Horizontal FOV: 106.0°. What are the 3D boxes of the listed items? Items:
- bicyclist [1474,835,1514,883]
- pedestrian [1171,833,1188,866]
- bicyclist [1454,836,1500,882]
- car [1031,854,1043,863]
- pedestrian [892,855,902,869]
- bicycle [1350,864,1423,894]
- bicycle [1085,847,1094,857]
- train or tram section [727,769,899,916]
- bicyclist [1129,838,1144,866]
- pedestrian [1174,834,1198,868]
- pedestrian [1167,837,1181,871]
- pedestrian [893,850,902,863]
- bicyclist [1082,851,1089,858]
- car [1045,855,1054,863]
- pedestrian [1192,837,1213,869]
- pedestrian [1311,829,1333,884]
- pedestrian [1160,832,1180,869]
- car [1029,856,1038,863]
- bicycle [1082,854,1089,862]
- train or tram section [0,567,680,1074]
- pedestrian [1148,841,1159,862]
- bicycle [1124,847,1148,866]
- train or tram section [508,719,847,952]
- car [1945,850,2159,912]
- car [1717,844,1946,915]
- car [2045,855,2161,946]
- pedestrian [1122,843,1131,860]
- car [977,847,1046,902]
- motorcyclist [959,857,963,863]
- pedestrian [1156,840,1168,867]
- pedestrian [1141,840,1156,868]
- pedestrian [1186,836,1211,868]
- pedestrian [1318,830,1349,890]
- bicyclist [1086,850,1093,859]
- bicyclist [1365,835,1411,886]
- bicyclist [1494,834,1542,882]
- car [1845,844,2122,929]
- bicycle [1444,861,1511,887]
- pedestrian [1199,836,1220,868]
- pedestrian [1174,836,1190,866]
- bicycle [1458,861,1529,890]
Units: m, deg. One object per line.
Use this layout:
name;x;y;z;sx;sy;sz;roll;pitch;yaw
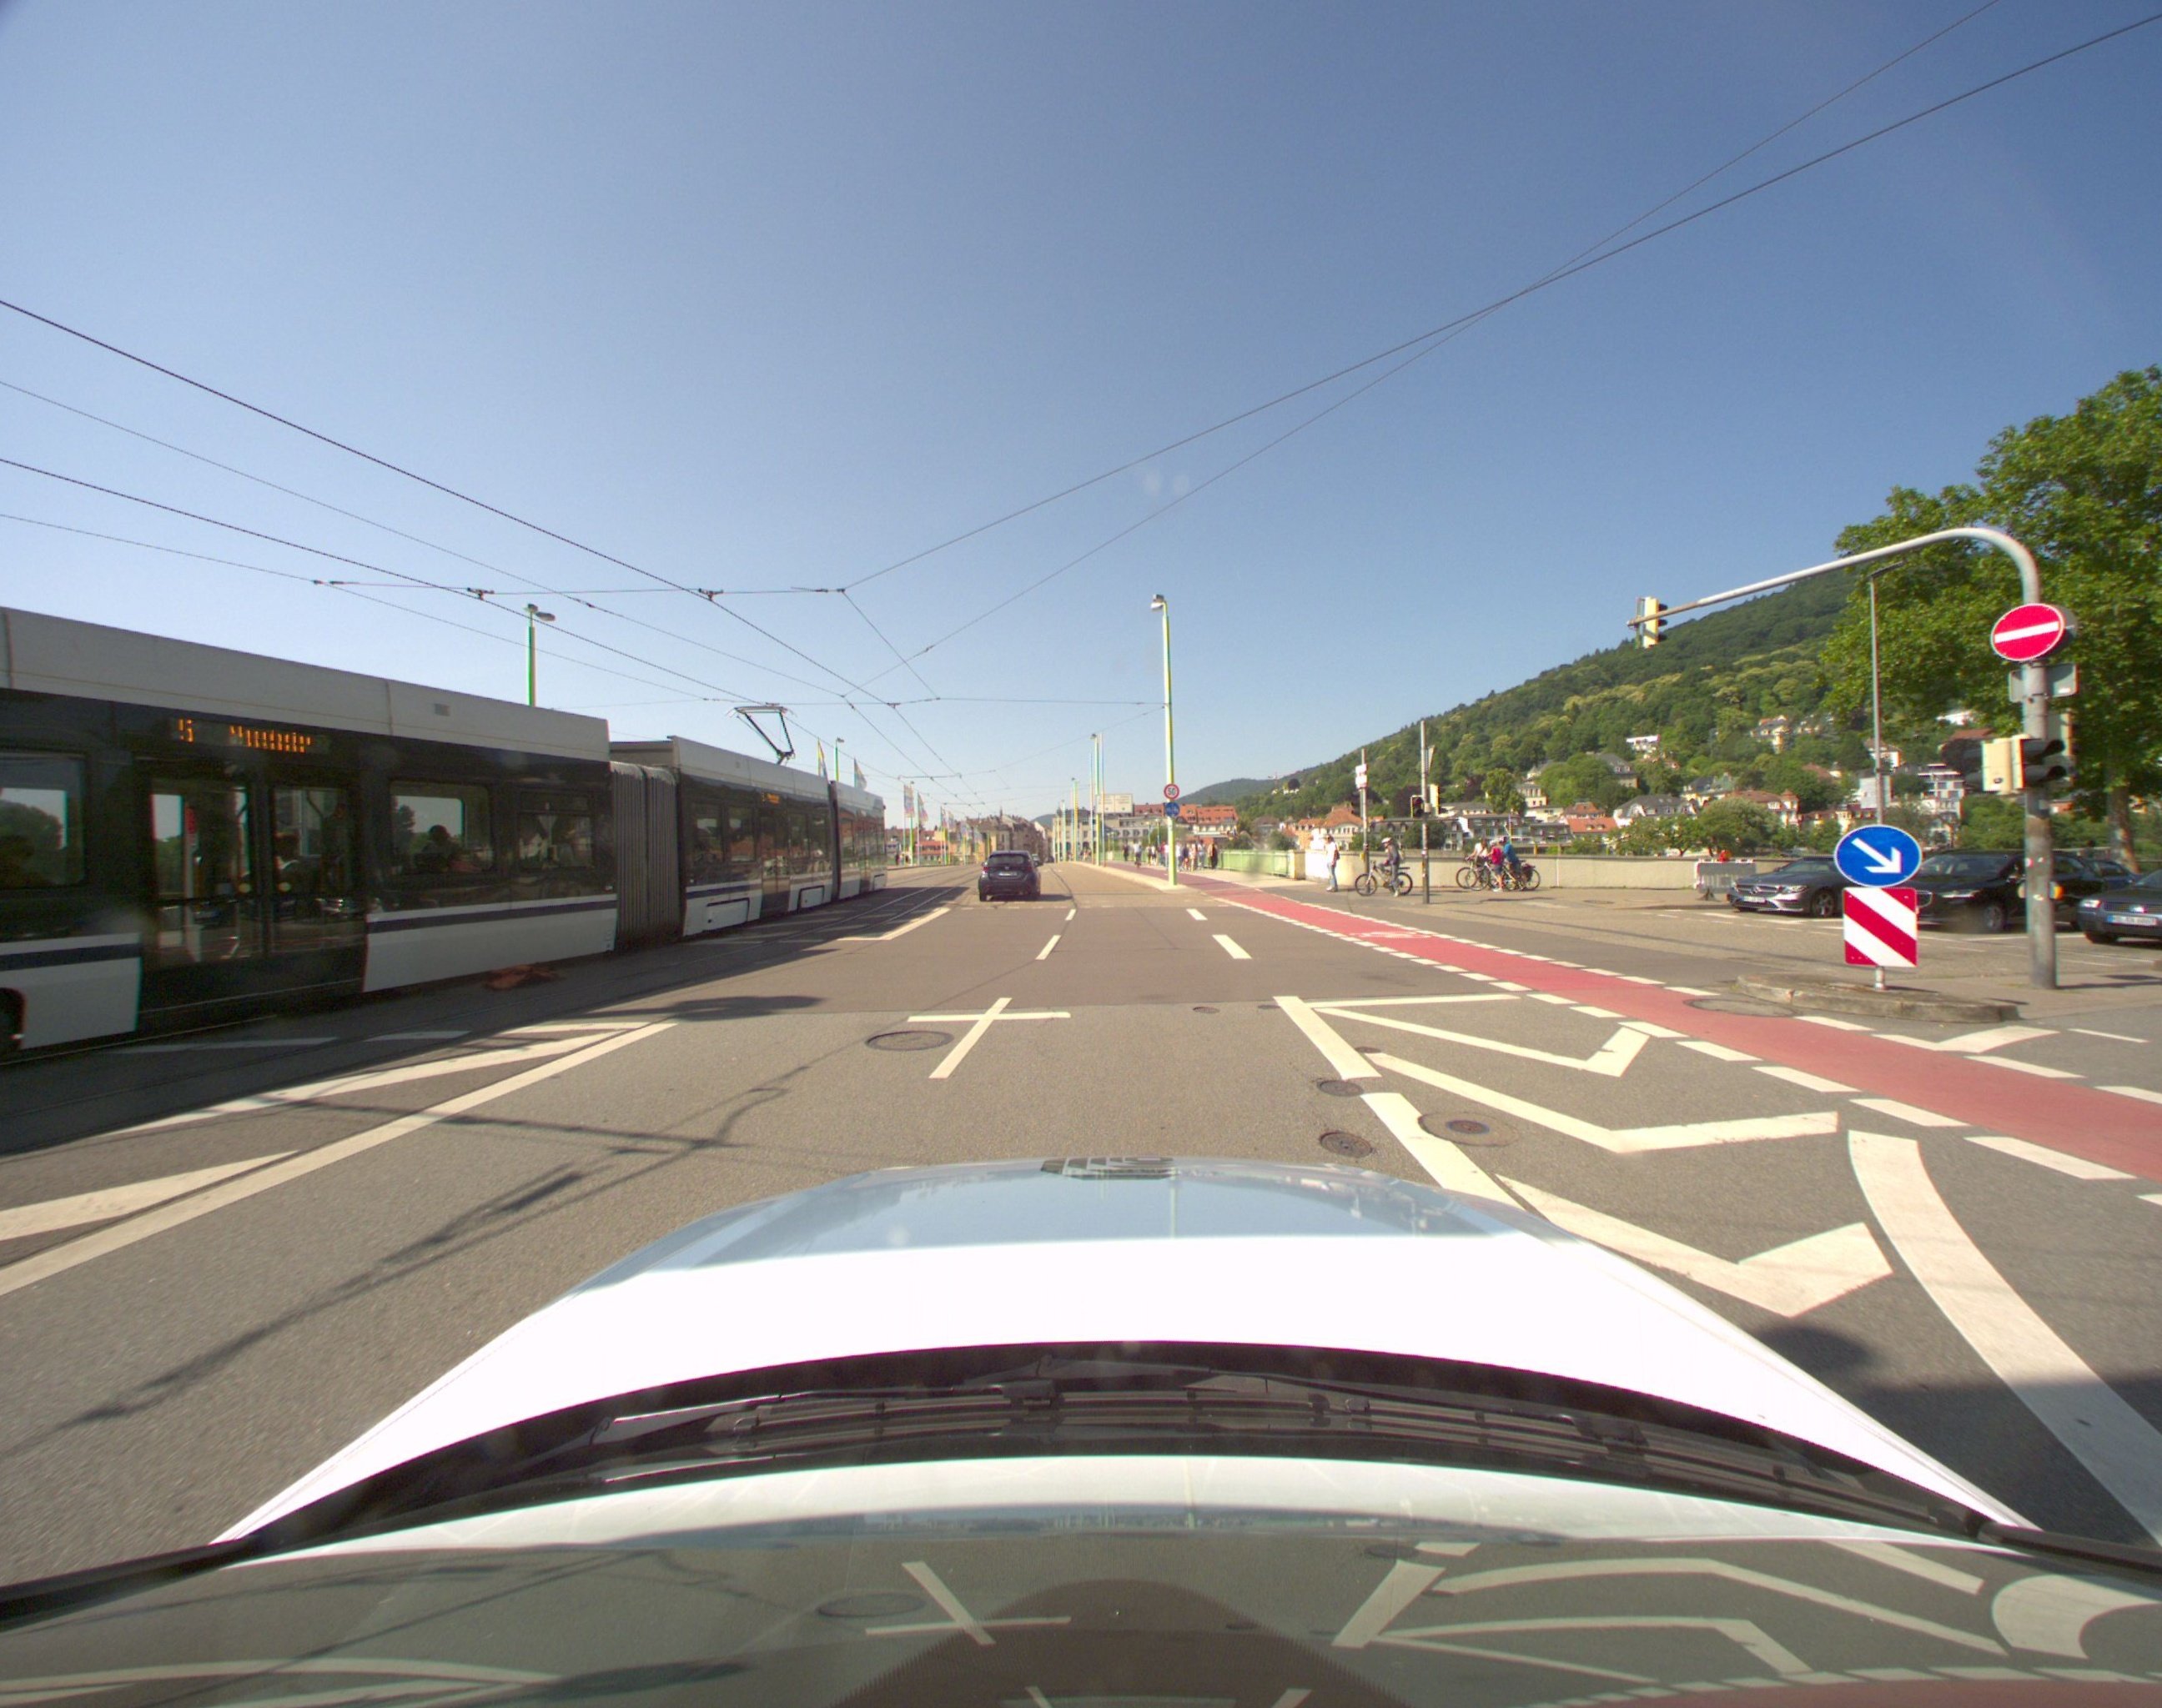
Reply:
bicyclist;12.902;0.138;25.479;1.070;1.474;0.766;0;0;22
pedestrian;5.241;-0.246;43.392;0.695;1.716;0.729;-1;-1;-9
bicyclist;12.895;0.147;26.517;1.075;1.474;0.929;0;0;3
car;-7.812;0.888;144.995;1.802;1.469;3.991;-3;-1;-6
pedestrian;-23.784;1.023;105.255;1.096;1.758;1.292;1;0;-6
bicycle;8.935;0.726;23.834;1.932;0.827;0.565;-1;0;0
bicycle;1.057;-0.282;102.755;0.695;1.193;2.072;-2;-1;-9
train or tram section;-8.351;-0.375;27.309;2.465;3.777;11.834;-2;1;-4
bicyclist;3.521;-0.115;51.695;0.673;1.744;1.147;-2;0;-8
pedestrian;5.620;-0.151;43.624;0.985;1.750;0.927;-1;-1;-10
pedestrian;4.879;0.007;42.751;0.549;1.799;0.644;-1;-1;-9
pedestrian;-26.259;0.363;116.706;1.096;1.729;1.292;-1;0;-7
bicyclist;0.623;0.069;109.344;0.734;1.030;1.173;-1;-1;-5
car;-6.354;1.036;165.109;1.799;1.469;3.998;-3;-1;-1
pedestrian;6.527;-0.043;43.662;0.834;1.677;0.883;-1;-1;-10
pedestrian;7.735;0.075;26.176;0.532;1.760;0.577;-1;0;-1
pedestrian;4.946;-0.204;45.364;0.803;2.014;0.951;-1;-1;-9
car;-12.242;1.520;209.201;1.991;1.717;3.992;-1;0;-6
bicycle;0.612;0.529;109.412;0.617;1.037;2.047;-1;-1;-5
train or tram section;-8.719;-0.277;8.797;2.520;3.777;9.202;-2;1;13
pedestrian;5.458;-0.201;61.167;0.648;1.562;0.691;-2;0;-3
bicycle;3.487;0.164;52.008;0.792;1.096;3.734;-2;0;-8
train or tram section;-7.873;-0.363;17.906;2.395;3.681;9.621;-2;1;1
car;24.800;0.629;20.835;4.479;1.448;1.838;0;1;-15
car;17.674;0.548;19.231;4.478;1.395;1.838;-2;0;-14
car;18.608;0.717;13.378;4.308;1.357;1.873;0;1;-14
pedestrian;4.556;-0.263;81.914;0.654;1.743;0.975;-1;1;-10
car;-2.234;0.582;25.359;1.909;1.540;3.989;-1;0;-8
motorcyclist;-27.848;1.365;188.248;0.799;1.549;1.067;-1;-1;-4
pedestrian;5.449;-0.046;54.844;0.585;1.793;0.630;-1;-1;-9
pedestrian;4.937;0.013;59.668;0.873;2.014;1.056;-1;-1;-9
pedestrian;6.588;-0.118;45.821;0.985;1.769;1.250;-2;0;-9
pedestrian;7.915;0.171;25.561;0.771;1.855;0.644;-1;0;-1
bicyclist;1.054;0.064;102.787;0.666;1.045;0.978;-1;0;-8
bicyclist;8.988;0.176;23.861;1.076;1.474;0.800;0;0;0
bicyclist;13.887;0.120;25.933;1.075;1.474;0.929;0;0;4
car;17.812;0.577;16.124;4.478;1.506;1.838;0;0;-14
bicycle;12.936;0.653;26.578;1.932;0.827;0.565;0;0;0
pedestrian;6.685;-0.112;42.299;0.799;1.635;0.947;-2;0;-9
pedestrian;5.677;-0.148;45.822;0.654;1.650;0.866;-1;-1;-8
bicycle;12.885;0.667;25.468;1.922;0.853;0.568;0;0;20
